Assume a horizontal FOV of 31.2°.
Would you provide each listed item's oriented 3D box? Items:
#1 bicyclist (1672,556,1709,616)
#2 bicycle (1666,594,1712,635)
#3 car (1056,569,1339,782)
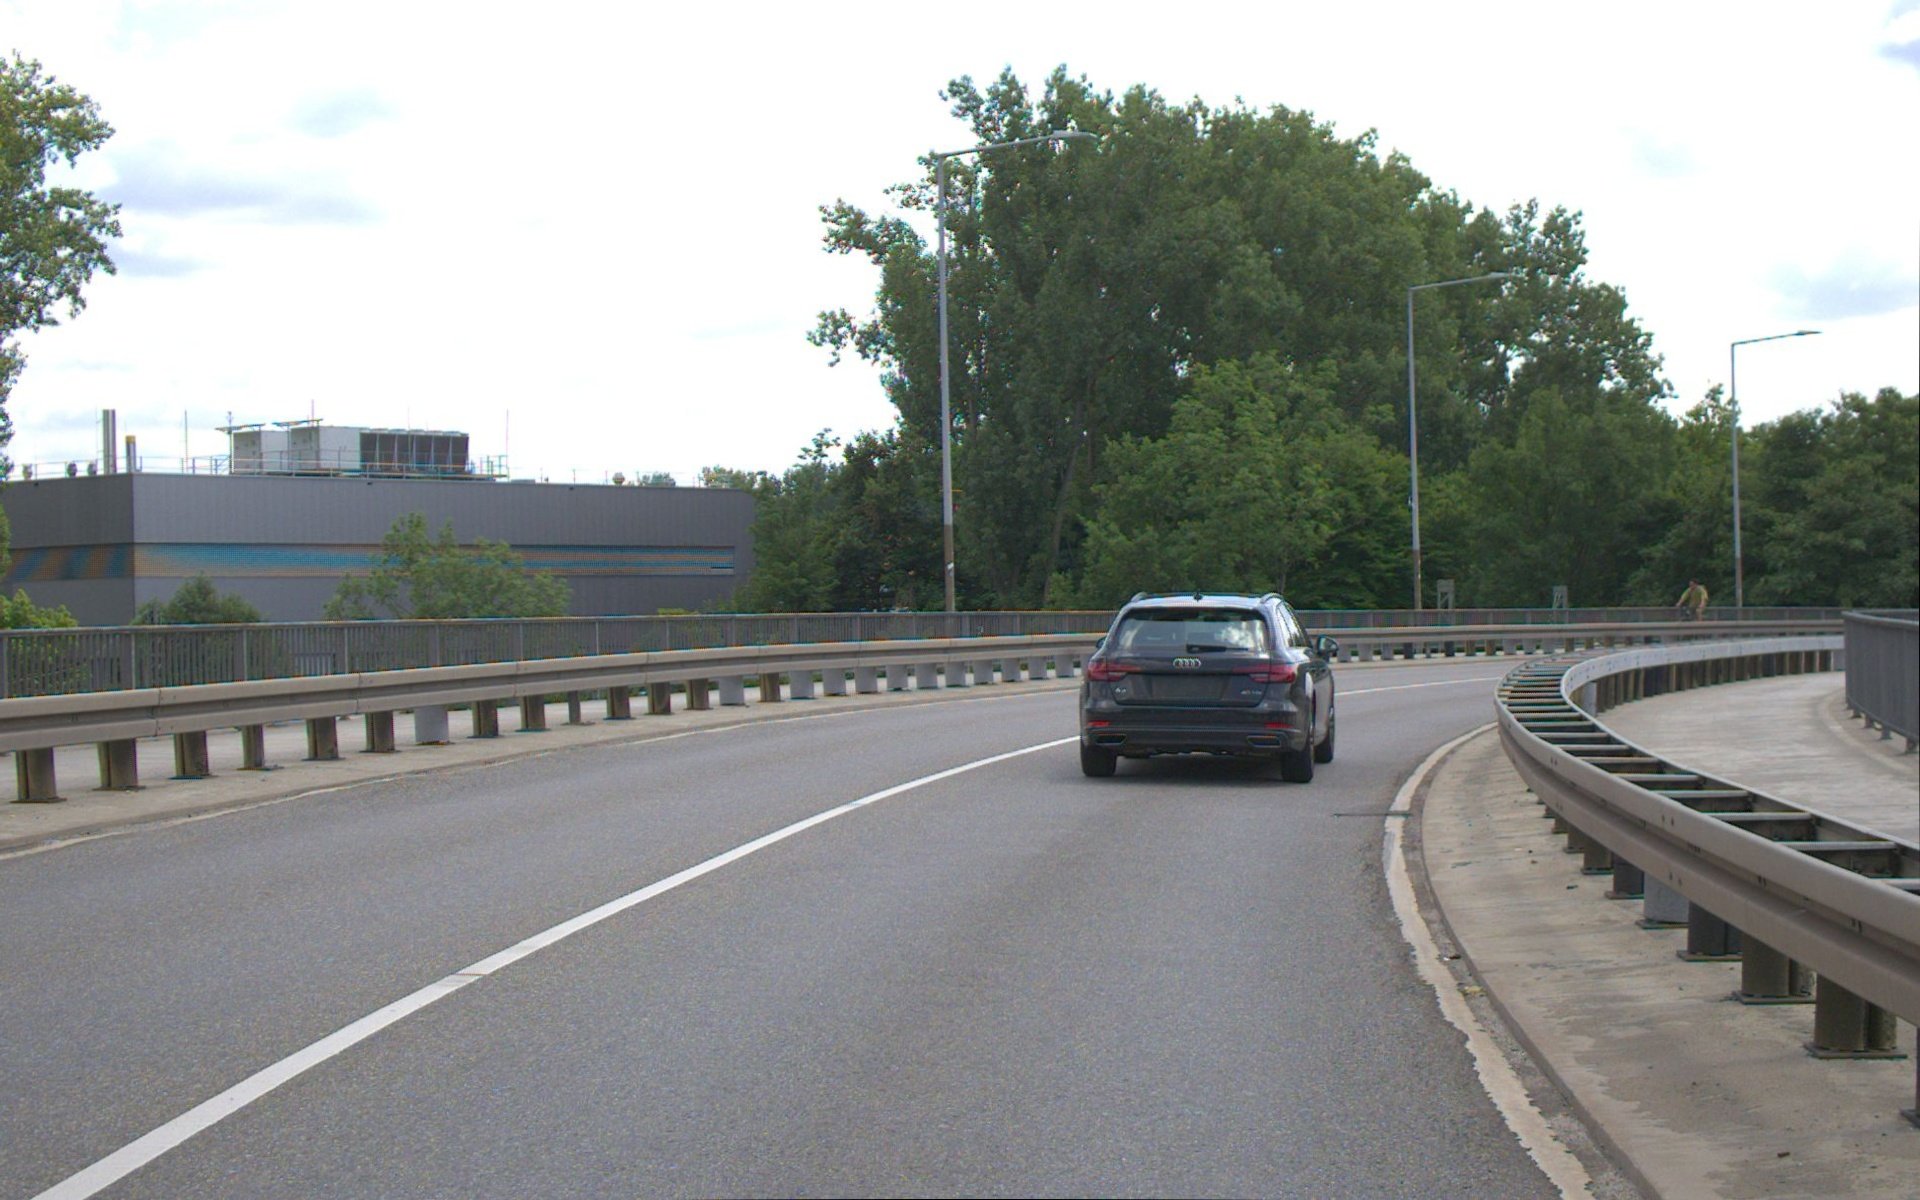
[{"bbox_3d":[19.627,-0.362,92.372,0.768,1.597,0.946,0,-1,24],"label":"bicyclist"},{"bbox_3d":[19.548,0.390,92.203,0.770,1.091,2.112,0,0,24],"label":"bicycle"},{"bbox_3d":[1.978,0.535,27.489,1.828,1.486,4.205,2,1,9],"label":"car"}]
